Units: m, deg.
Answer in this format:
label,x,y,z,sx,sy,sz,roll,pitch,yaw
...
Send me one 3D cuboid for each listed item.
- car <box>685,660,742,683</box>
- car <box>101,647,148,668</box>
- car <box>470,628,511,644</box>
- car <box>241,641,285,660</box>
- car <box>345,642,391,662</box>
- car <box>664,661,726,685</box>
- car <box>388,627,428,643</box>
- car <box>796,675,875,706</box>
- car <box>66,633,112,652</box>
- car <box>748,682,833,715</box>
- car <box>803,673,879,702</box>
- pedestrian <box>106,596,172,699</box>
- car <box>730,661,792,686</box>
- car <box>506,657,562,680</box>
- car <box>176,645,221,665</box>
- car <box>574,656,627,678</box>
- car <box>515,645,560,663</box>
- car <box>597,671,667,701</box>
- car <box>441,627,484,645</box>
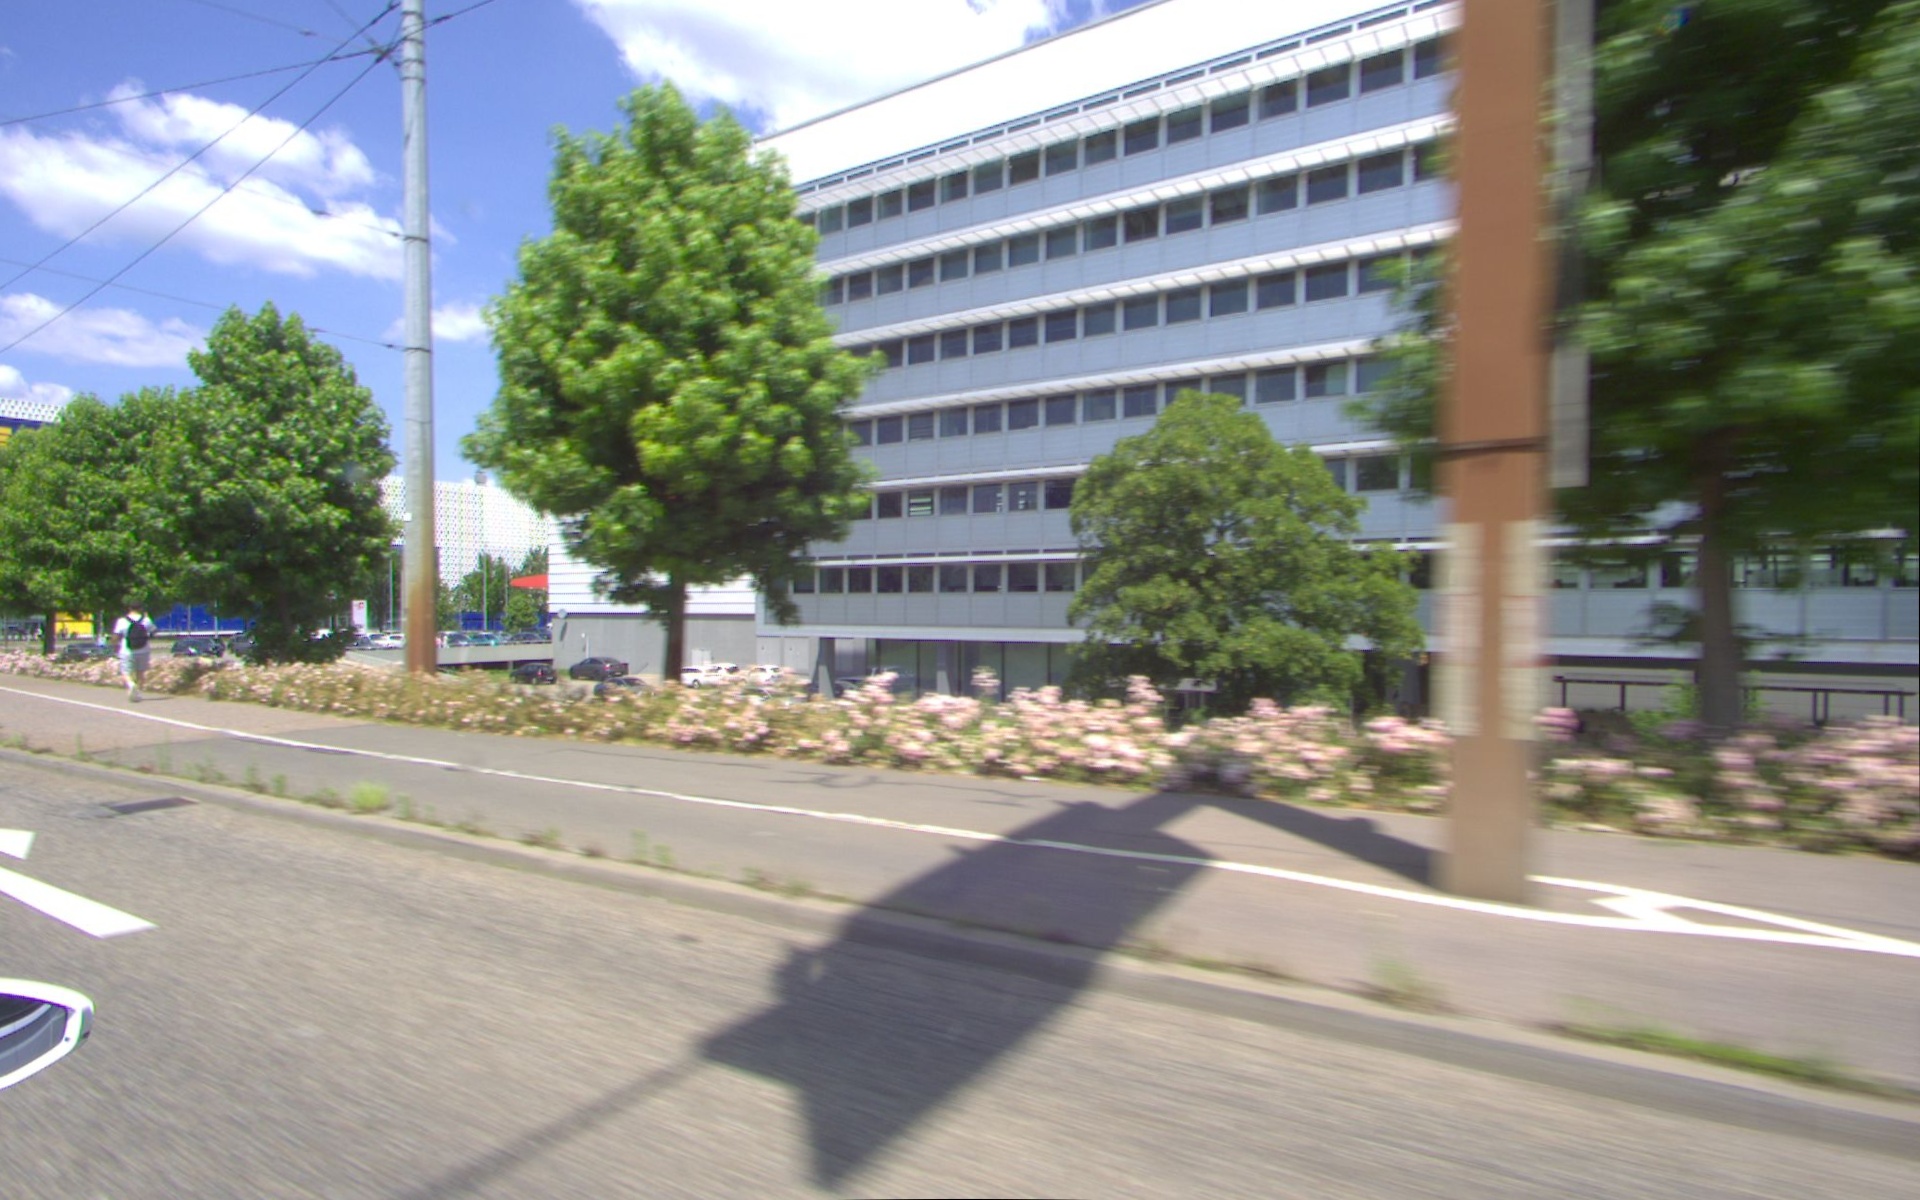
label,x,y,z,sx,sy,sz,roll,pitch,yaw
car,-17.588,5.094,71.481,3.907,1.501,1.738,0,-2,32
car,-64.483,4.423,77.302,3.830,1.501,1.569,0,-2,30
car,-43.256,3.314,92.239,3.830,1.501,1.569,0,-2,30
car,-59.536,4.308,85.546,3.830,1.501,1.569,0,-2,30
car,-49.190,4.308,83.205,3.830,1.501,1.569,0,-2,30
car,-18.236,5.000,68.873,4.178,1.501,1.738,0,-2,32
car,-53.236,3.363,96.544,3.830,1.501,1.569,0,-2,30
car,-6.978,5.031,55.834,4.176,1.501,1.739,0,-2,30
car,-75.897,3.711,87.249,3.939,1.560,1.738,0,-2,29
car,-8.648,4.991,51.014,4.174,1.410,1.584,0,-2,29
car,-6.986,5.096,58.684,4.176,1.501,1.739,0,-2,30
pedestrian,-14.875,0.848,18.145,0.912,1.815,0.667,0,-1,34
car,-13.744,5.040,69.099,4.178,1.501,1.738,0,-2,32
car,-30.358,4.875,71.308,3.907,1.501,1.738,0,-2,32
car,-62.120,4.490,81.628,3.830,1.501,1.569,0,-2,30
car,-26.882,4.960,74.817,3.907,1.501,1.738,0,-2,32
car,-40.518,5.167,95.996,4.229,1.665,1.871,0,-2,32
car,-19.041,4.947,58.101,4.029,1.501,1.738,0,-2,32
car,-44.448,3.216,89.480,3.830,1.501,1.569,0,-2,30
